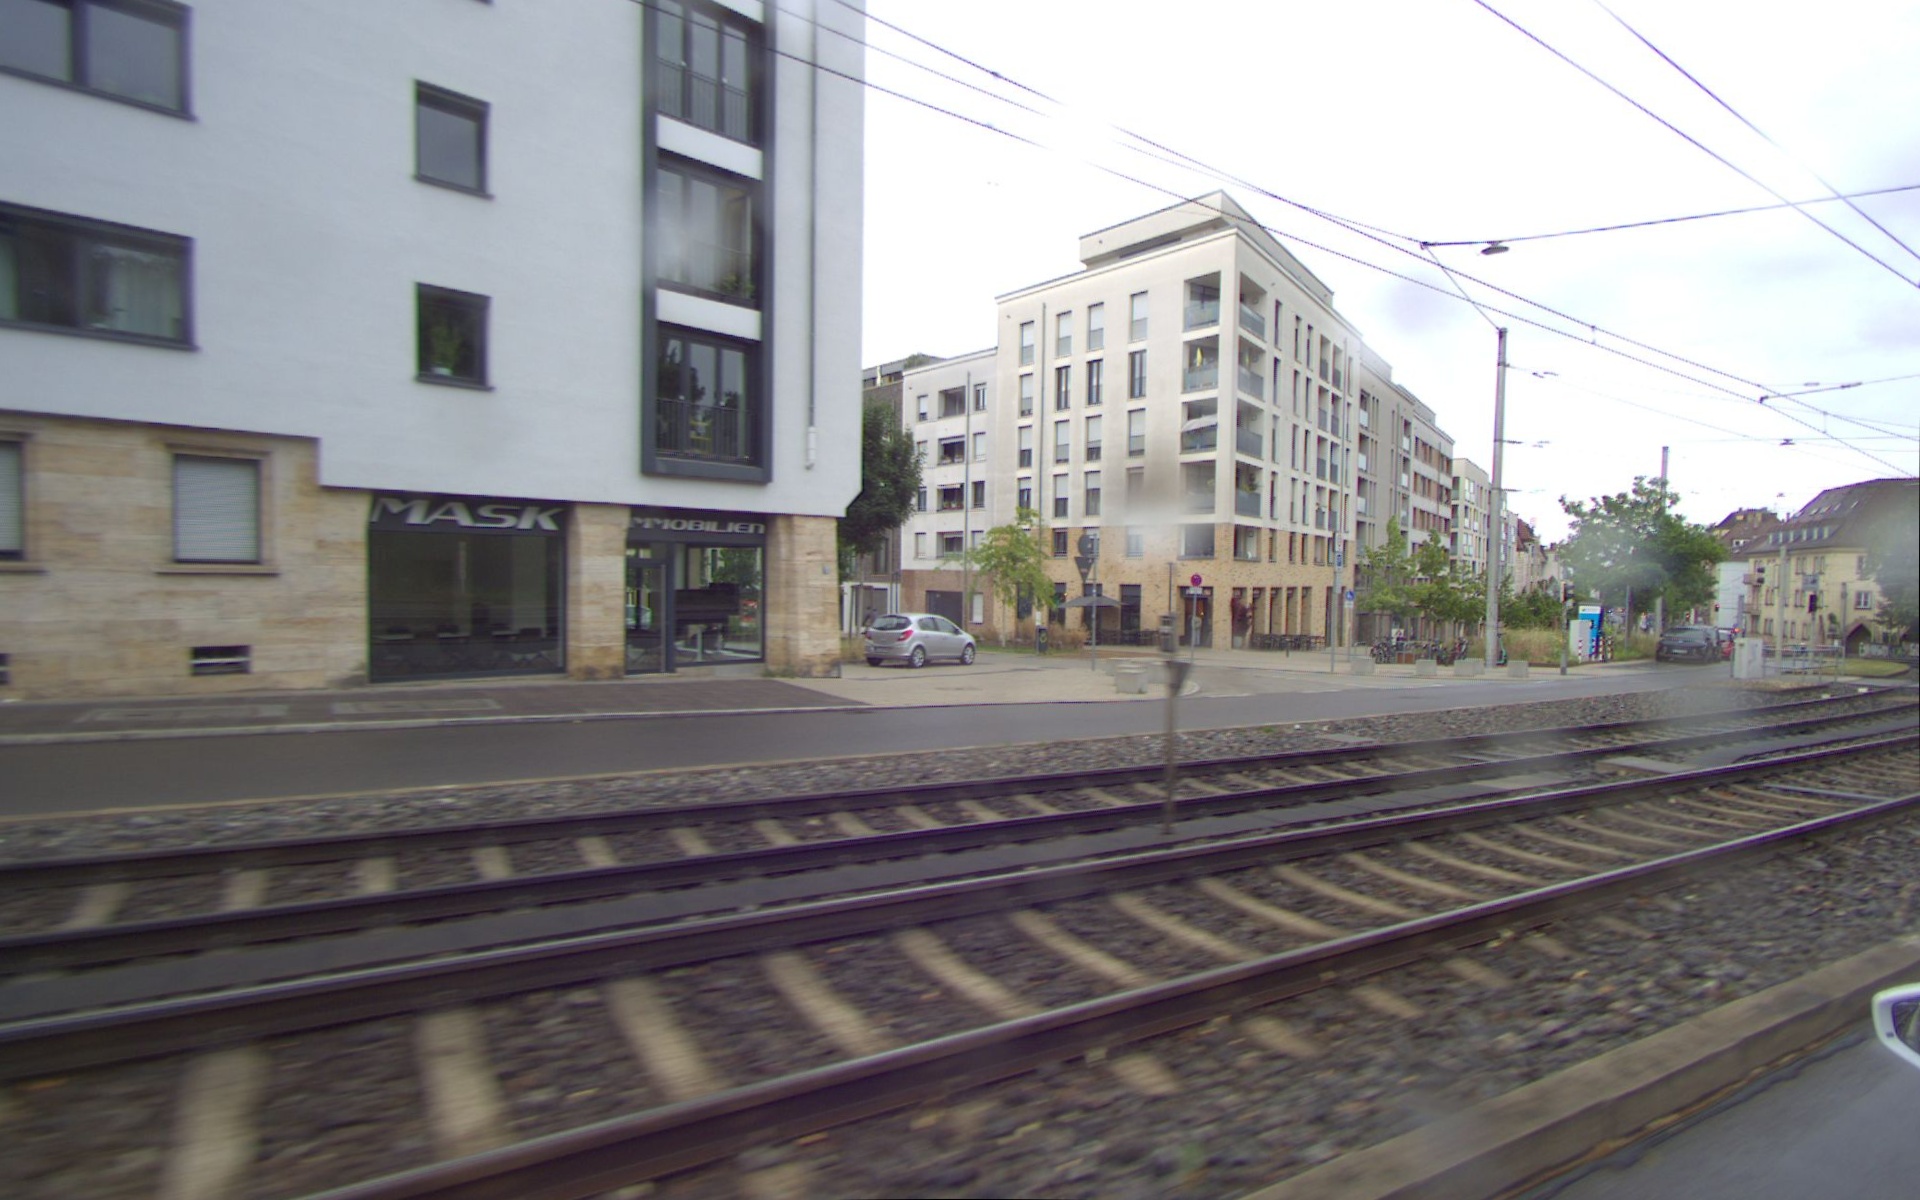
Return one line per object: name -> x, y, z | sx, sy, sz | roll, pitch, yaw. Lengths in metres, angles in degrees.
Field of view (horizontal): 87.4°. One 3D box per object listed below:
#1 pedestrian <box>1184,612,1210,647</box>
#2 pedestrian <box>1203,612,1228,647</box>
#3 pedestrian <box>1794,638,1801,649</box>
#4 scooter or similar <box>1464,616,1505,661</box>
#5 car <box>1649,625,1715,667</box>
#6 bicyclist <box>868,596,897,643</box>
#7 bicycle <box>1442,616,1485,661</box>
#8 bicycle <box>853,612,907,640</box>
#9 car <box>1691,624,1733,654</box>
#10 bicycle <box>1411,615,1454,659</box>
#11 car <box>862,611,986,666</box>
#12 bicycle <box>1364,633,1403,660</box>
pedestrian -> 11.512, 1.423, 48.810 | 0.891, 1.673, 0.837 | 1, -2, -23
pedestrian -> 12.485, 1.442, 49.085 | 0.891, 1.674, 0.837 | 1, -1, -22
pedestrian -> 97.325, 5.062, 116.669 | 0.496, 1.333, 0.511 | 1, -1, 24
scooter or similar -> 19.482, 1.415, 37.315 | 2.344, 1.617, 0.594 | 2, -1, -43
car -> 32.294, 2.052, 44.888 | 1.970, 1.626, 4.195 | 5, 1, 41
bicyclist -> -3.033, 0.763, 39.292 | 0.773, 1.828, 0.901 | 1, 0, 21
bicycle -> 18.983, 1.444, 37.819 | 2.344, 1.617, 0.669 | 2, -1, -43
bicycle -> -3.131, 1.004, 39.367 | 1.973, 1.042, 0.735 | 1, 0, 22
car -> 42.127, 2.189, 56.260 | 1.454, 1.551, 2.913 | 4, 1, 44
bicycle -> 18.145, 1.421, 38.520 | 2.344, 1.617, 0.669 | 2, -1, -43
car -> -0.957, 1.083, 28.835 | 1.574, 1.439, 3.906 | 1, -1, 34
bicycle -> 16.942, 1.847, 40.194 | 2.212, 1.061, 0.471 | 2, -1, -40
